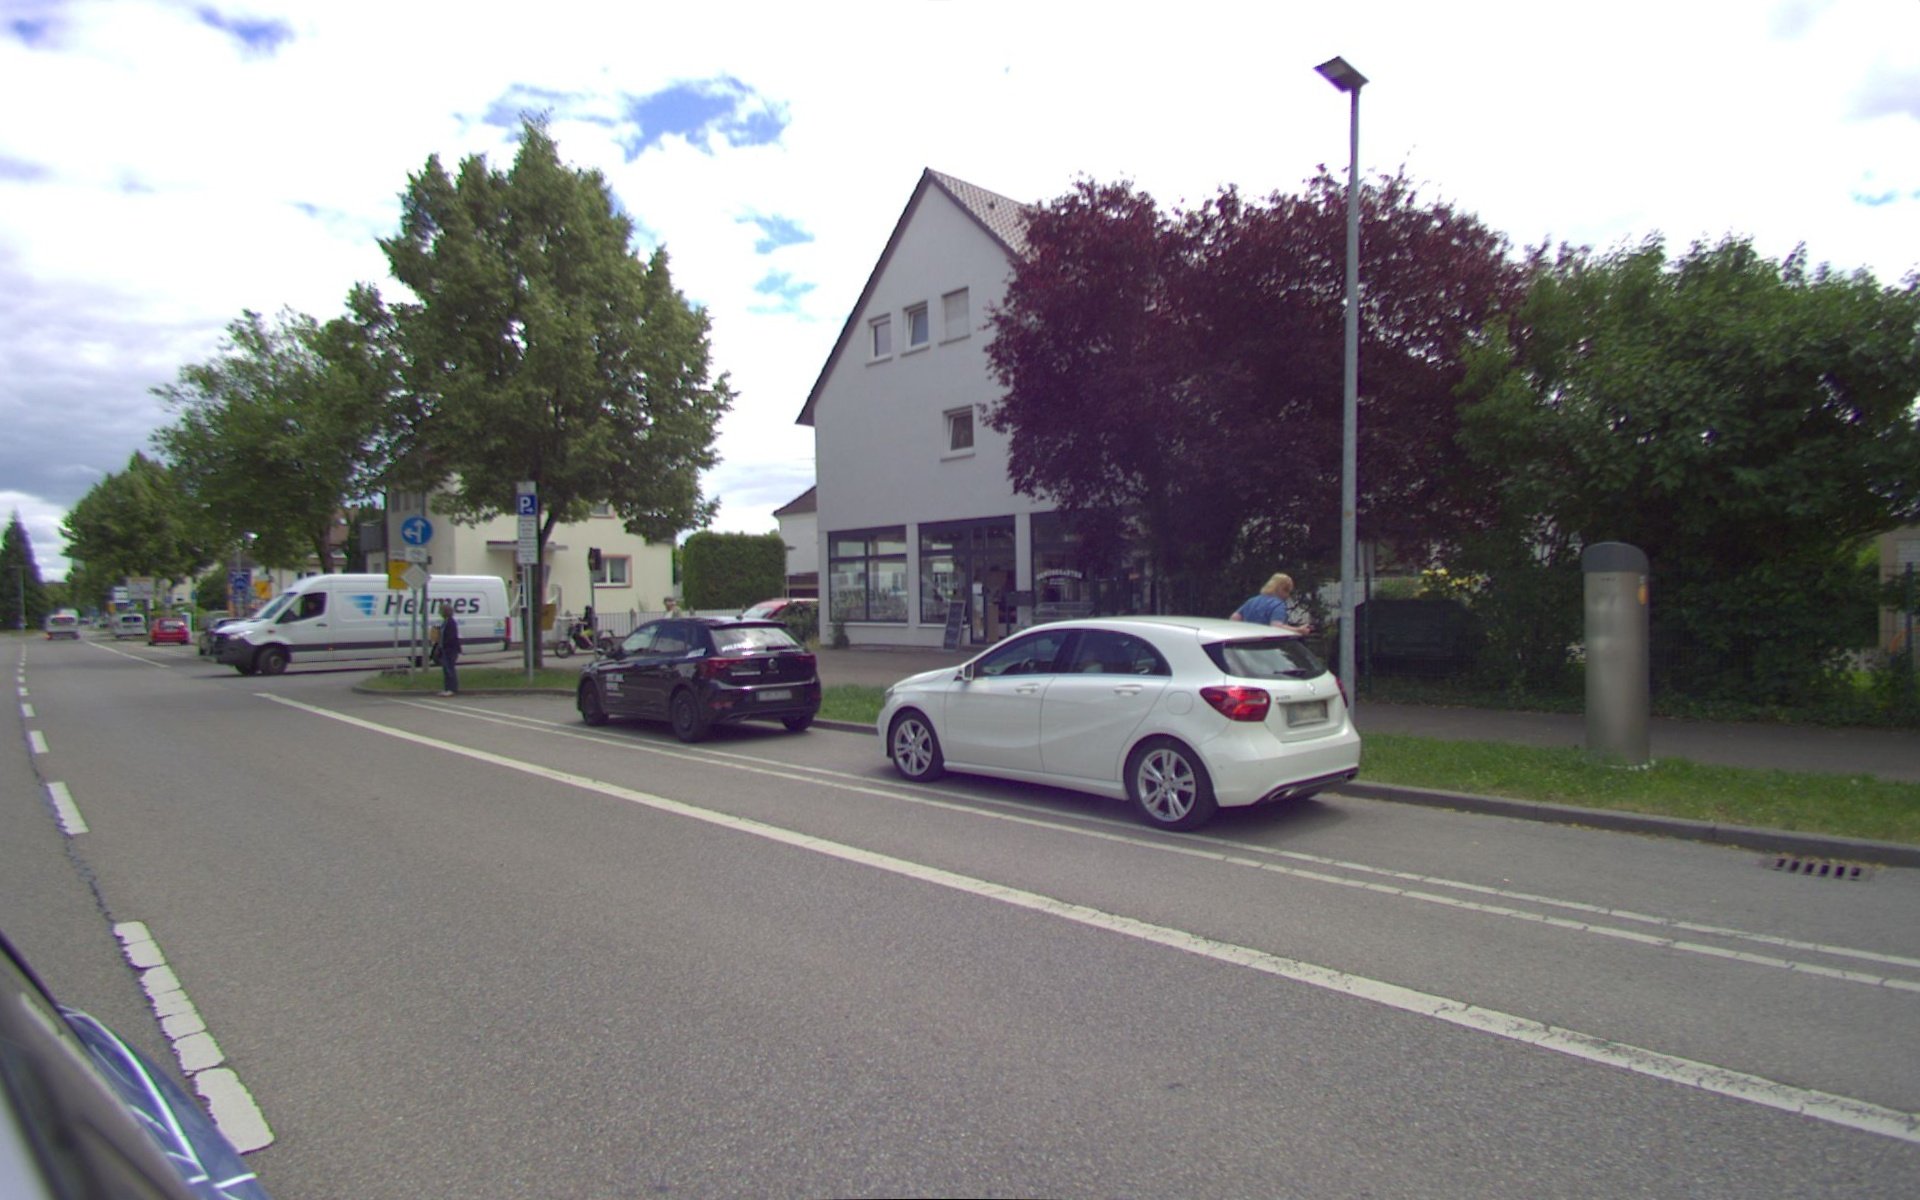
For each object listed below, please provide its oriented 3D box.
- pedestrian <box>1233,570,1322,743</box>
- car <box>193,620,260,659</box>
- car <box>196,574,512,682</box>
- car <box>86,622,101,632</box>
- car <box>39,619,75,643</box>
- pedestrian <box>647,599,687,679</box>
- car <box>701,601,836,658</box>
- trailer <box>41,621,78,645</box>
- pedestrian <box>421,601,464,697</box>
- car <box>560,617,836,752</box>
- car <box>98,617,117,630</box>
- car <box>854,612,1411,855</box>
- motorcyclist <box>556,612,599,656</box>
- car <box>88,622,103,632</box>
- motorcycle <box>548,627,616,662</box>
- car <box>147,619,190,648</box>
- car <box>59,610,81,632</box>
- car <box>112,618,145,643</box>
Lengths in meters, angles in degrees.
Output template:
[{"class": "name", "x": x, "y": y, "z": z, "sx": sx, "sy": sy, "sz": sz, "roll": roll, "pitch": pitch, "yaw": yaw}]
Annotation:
[{"class": "pedestrian", "x": 2.936, "y": 0.512, "z": 9.406, "sx": 0.691, "sy": 1.540, "sz": 0.581, "roll": -1, "pitch": -1, "yaw": 11}, {"class": "car", "x": -29.351, "y": 1.548, "z": 40.433, "sx": 1.710, "sy": 1.480, "sz": 4.306, "roll": 0, "pitch": -1, "yaw": -42}, {"class": "car", "x": -16.558, "y": 0.689, "z": 28.172, "sx": 2.219, "sy": 2.614, "sz": 7.214, "roll": -1, "pitch": -1, "yaw": 40}, {"class": "car", "x": -143.935, "y": 4.493, "z": 168.039, "sx": 1.641, "sy": 1.486, "sz": 3.750, "roll": -1, "pitch": -1, "yaw": -44}, {"class": "car", "x": -71.020, "y": 2.420, "z": 79.558, "sx": 1.943, "sy": 1.844, "sz": 4.823, "roll": 0, "pitch": -1, "yaw": -44}, {"class": "pedestrian", "x": -5.927, "y": 0.774, "z": 20.438, "sx": 0.425, "sy": 1.563, "sz": 0.807, "roll": -1, "pitch": 0, "yaw": -44}, {"class": "car", "x": -6.505, "y": 0.950, "z": 34.751, "sx": 1.873, "sy": 1.791, "sz": 4.300, "roll": 1, "pitch": 0, "yaw": 43}, {"class": "trailer", "x": -67.758, "y": 2.448, "z": 76.118, "sx": 1.915, "sy": 1.689, "sz": 4.692, "roll": 0, "pitch": -1, "yaw": -44}, {"class": "pedestrian", "x": -9.517, "y": 0.888, "z": 18.592, "sx": 0.535, "sy": 1.694, "sz": 0.752, "roll": -2, "pitch": -1, "yaw": -35}, {"class": "car", "x": -3.457, "y": 0.951, "z": 12.890, "sx": 1.624, "sy": 1.431, "sz": 4.023, "roll": 1, "pitch": -1, "yaw": -45}, {"class": "car", "x": -113.719, "y": 3.142, "z": 134.936, "sx": 1.726, "sy": 1.648, "sz": 4.052, "roll": -1, "pitch": 0, "yaw": -43}, {"class": "car", "x": 1.104, "y": 0.832, "z": 8.151, "sx": 1.693, "sy": 1.417, "sz": 4.305, "roll": 0, "pitch": -1, "yaw": -42}, {"class": "motorcyclist", "x": -12.394, "y": 1.086, "z": 32.830, "sx": 0.754, "sy": 1.375, "sz": 1.093, "roll": -1, "pitch": -1, "yaw": 45}, {"class": "car", "x": -138.949, "y": 4.370, "z": 162.710, "sx": 1.641, "sy": 1.486, "sz": 3.750, "roll": -1, "pitch": -1, "yaw": -44}, {"class": "motorcycle", "x": -12.279, "y": 1.435, "z": 32.925, "sx": 0.481, "sy": 1.039, "sz": 2.089, "roll": -1, "pitch": -1, "yaw": 44}, {"class": "car", "x": -44.683, "y": 1.882, "z": 57.074, "sx": 1.664, "sy": 1.553, "sz": 4.137, "roll": 0, "pitch": -1, "yaw": -42}, {"class": "car", "x": -113.594, "y": 2.658, "z": 129.139, "sx": 1.994, "sy": 2.694, "sz": 5.813, "roll": -1, "pitch": -1, "yaw": -42}, {"class": "car", "x": -62.594, "y": 2.253, "z": 76.147, "sx": 1.749, "sy": 1.784, "sz": 4.557, "roll": -1, "pitch": -1, "yaw": -42}]
